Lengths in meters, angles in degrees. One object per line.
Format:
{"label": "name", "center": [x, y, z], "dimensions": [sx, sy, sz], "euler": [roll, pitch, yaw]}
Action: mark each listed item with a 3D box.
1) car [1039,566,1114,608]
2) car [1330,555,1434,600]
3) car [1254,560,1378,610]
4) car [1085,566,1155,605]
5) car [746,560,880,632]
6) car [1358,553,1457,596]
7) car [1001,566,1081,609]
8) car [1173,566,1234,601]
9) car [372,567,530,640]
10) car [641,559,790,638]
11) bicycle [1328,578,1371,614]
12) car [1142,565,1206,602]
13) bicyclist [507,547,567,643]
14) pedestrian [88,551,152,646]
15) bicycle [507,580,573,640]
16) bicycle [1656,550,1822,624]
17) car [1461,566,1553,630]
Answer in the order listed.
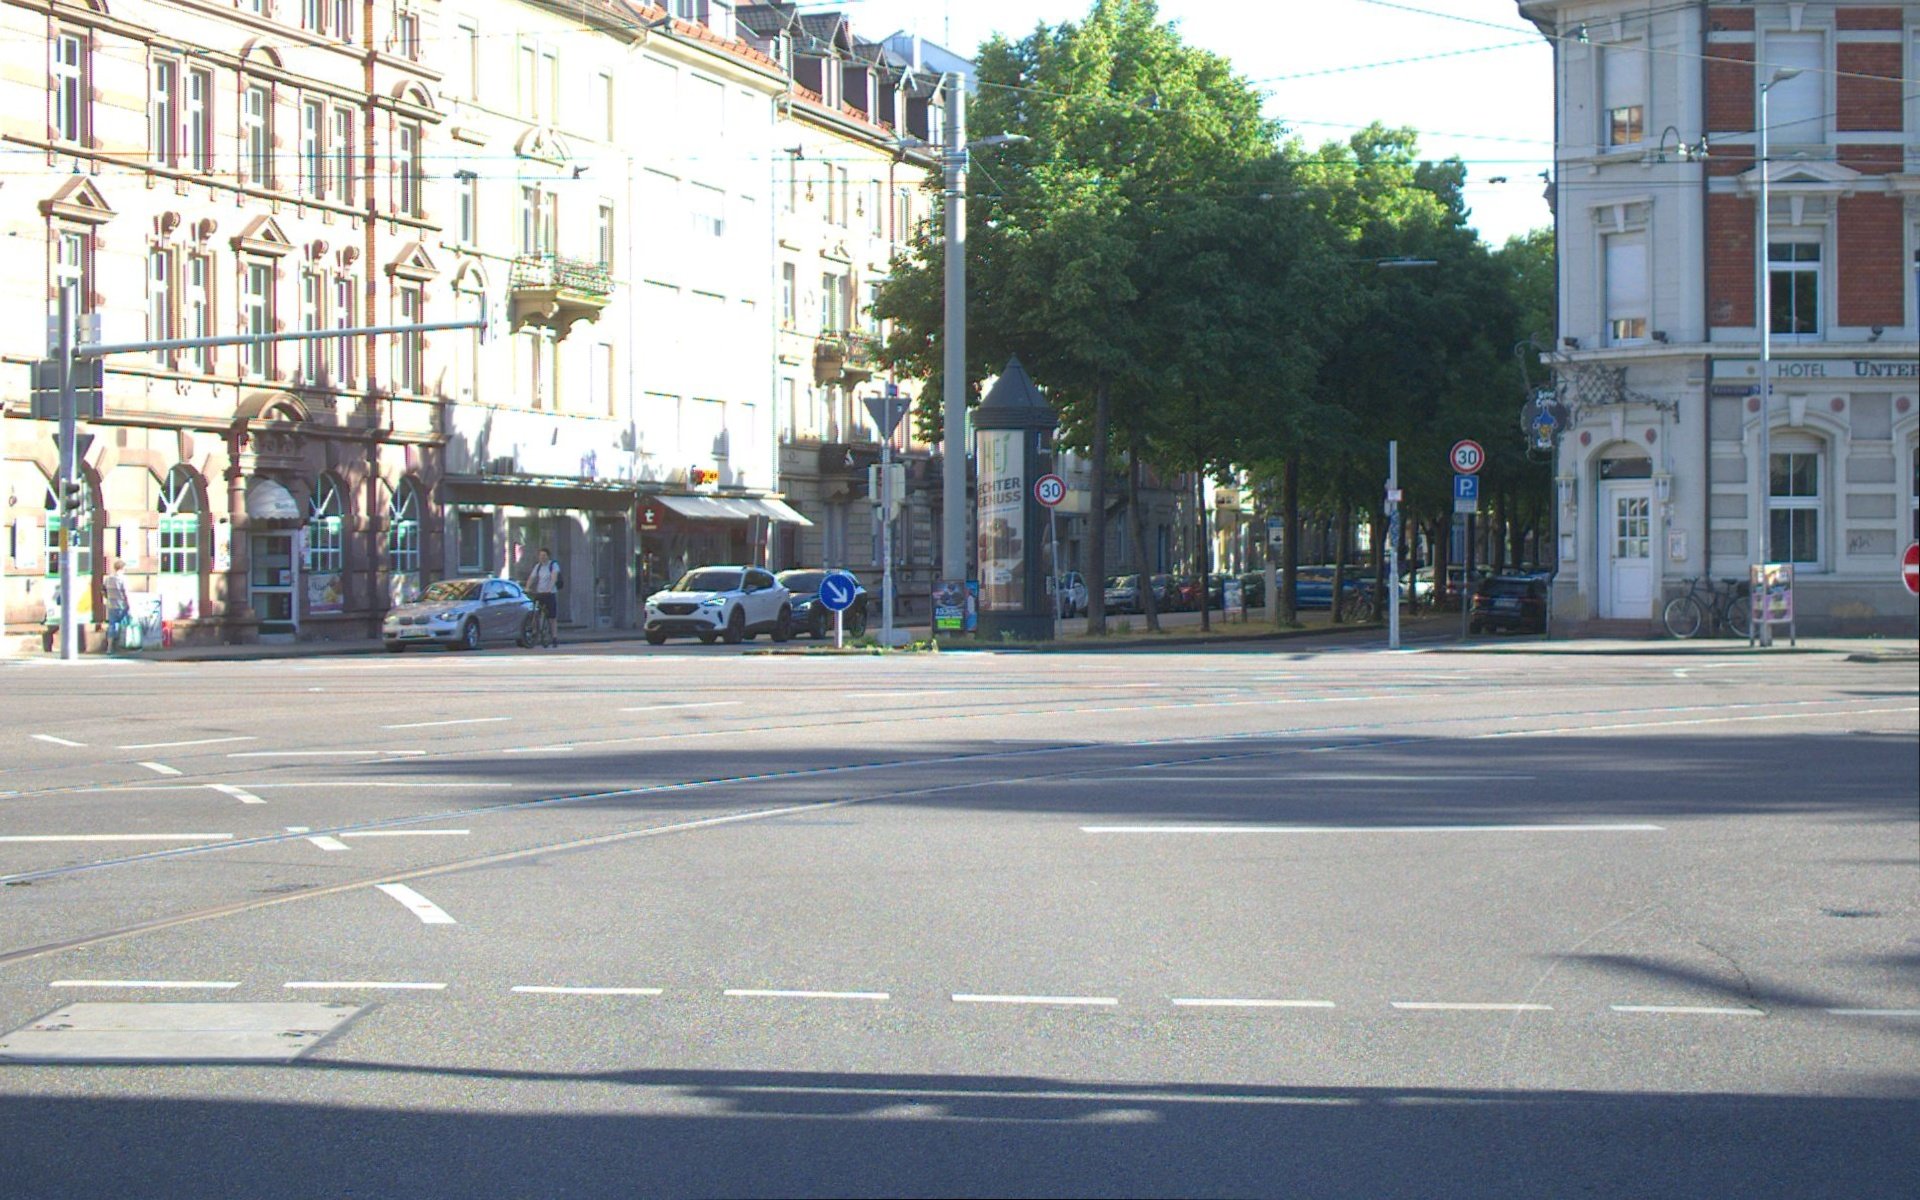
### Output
{"label": "car", "center": [3.939, -0.452, 115.480], "dimensions": [1.678, 1.349, 3.588], "euler": [0, 1, 17]}
{"label": "car", "center": [15.718, -0.856, 128.034], "dimensions": [3.582, 1.642, 1.681], "euler": [0, 1, 17]}
{"label": "car", "center": [11.997, -0.518, 115.678], "dimensions": [3.905, 1.642, 1.681], "euler": [0, 1, 17]}
{"label": "car", "center": [5.709, -0.525, 122.441], "dimensions": [1.678, 1.349, 3.588], "euler": [0, 1, 17]}
{"label": "car", "center": [-3.115, -0.106, 73.616], "dimensions": [1.678, 1.478, 3.945], "euler": [0, 1, 16]}
{"label": "car", "center": [17.393, -1.010, 133.507], "dimensions": [3.582, 1.642, 1.681], "euler": [0, 1, 17]}
{"label": "car", "center": [2.641, -0.408, 111.323], "dimensions": [1.678, 1.349, 3.588], "euler": [0, 1, 17]}
{"label": "car", "center": [9.617, -0.663, 135.778], "dimensions": [1.678, 1.349, 3.588], "euler": [0, 1, 17]}
{"label": "car", "center": [-9.867, 0.052, 66.910], "dimensions": [1.678, 1.349, 3.588], "euler": [0, 1, 17]}
{"label": "car", "center": [-4.756, -0.056, 67.314], "dimensions": [1.678, 1.478, 3.768], "euler": [0, 1, 17]}
{"label": "bicycle", "center": [11.266, -0.110, 99.484], "dimensions": [0.636, 1.018, 1.847], "euler": [1, 1, -14]}
{"label": "car", "center": [8.146, -0.624, 130.748], "dimensions": [1.678, 1.349, 3.588], "euler": [0, 1, 17]}
{"label": "bicyclist", "center": [-8.009, -0.092, 65.139], "dimensions": [0.779, 1.797, 1.055], "euler": [1, 0, 14]}
{"label": "pedestrian", "center": [-14.856, -0.035, 60.844], "dimensions": [0.776, 1.664, 0.830], "euler": [1, 0, 15]}
{"label": "bicycle", "center": [-7.974, 0.181, 65.265], "dimensions": [0.702, 1.114, 1.634], "euler": [1, 1, 13]}
{"label": "bicycle", "center": [12.975, -0.210, 57.276], "dimensions": [2.554, 1.170, 0.819], "euler": [1, 0, -3]}
{"label": "car", "center": [13.155, -0.062, 82.574], "dimensions": [1.678, 1.478, 3.945], "euler": [0, 1, 16]}
